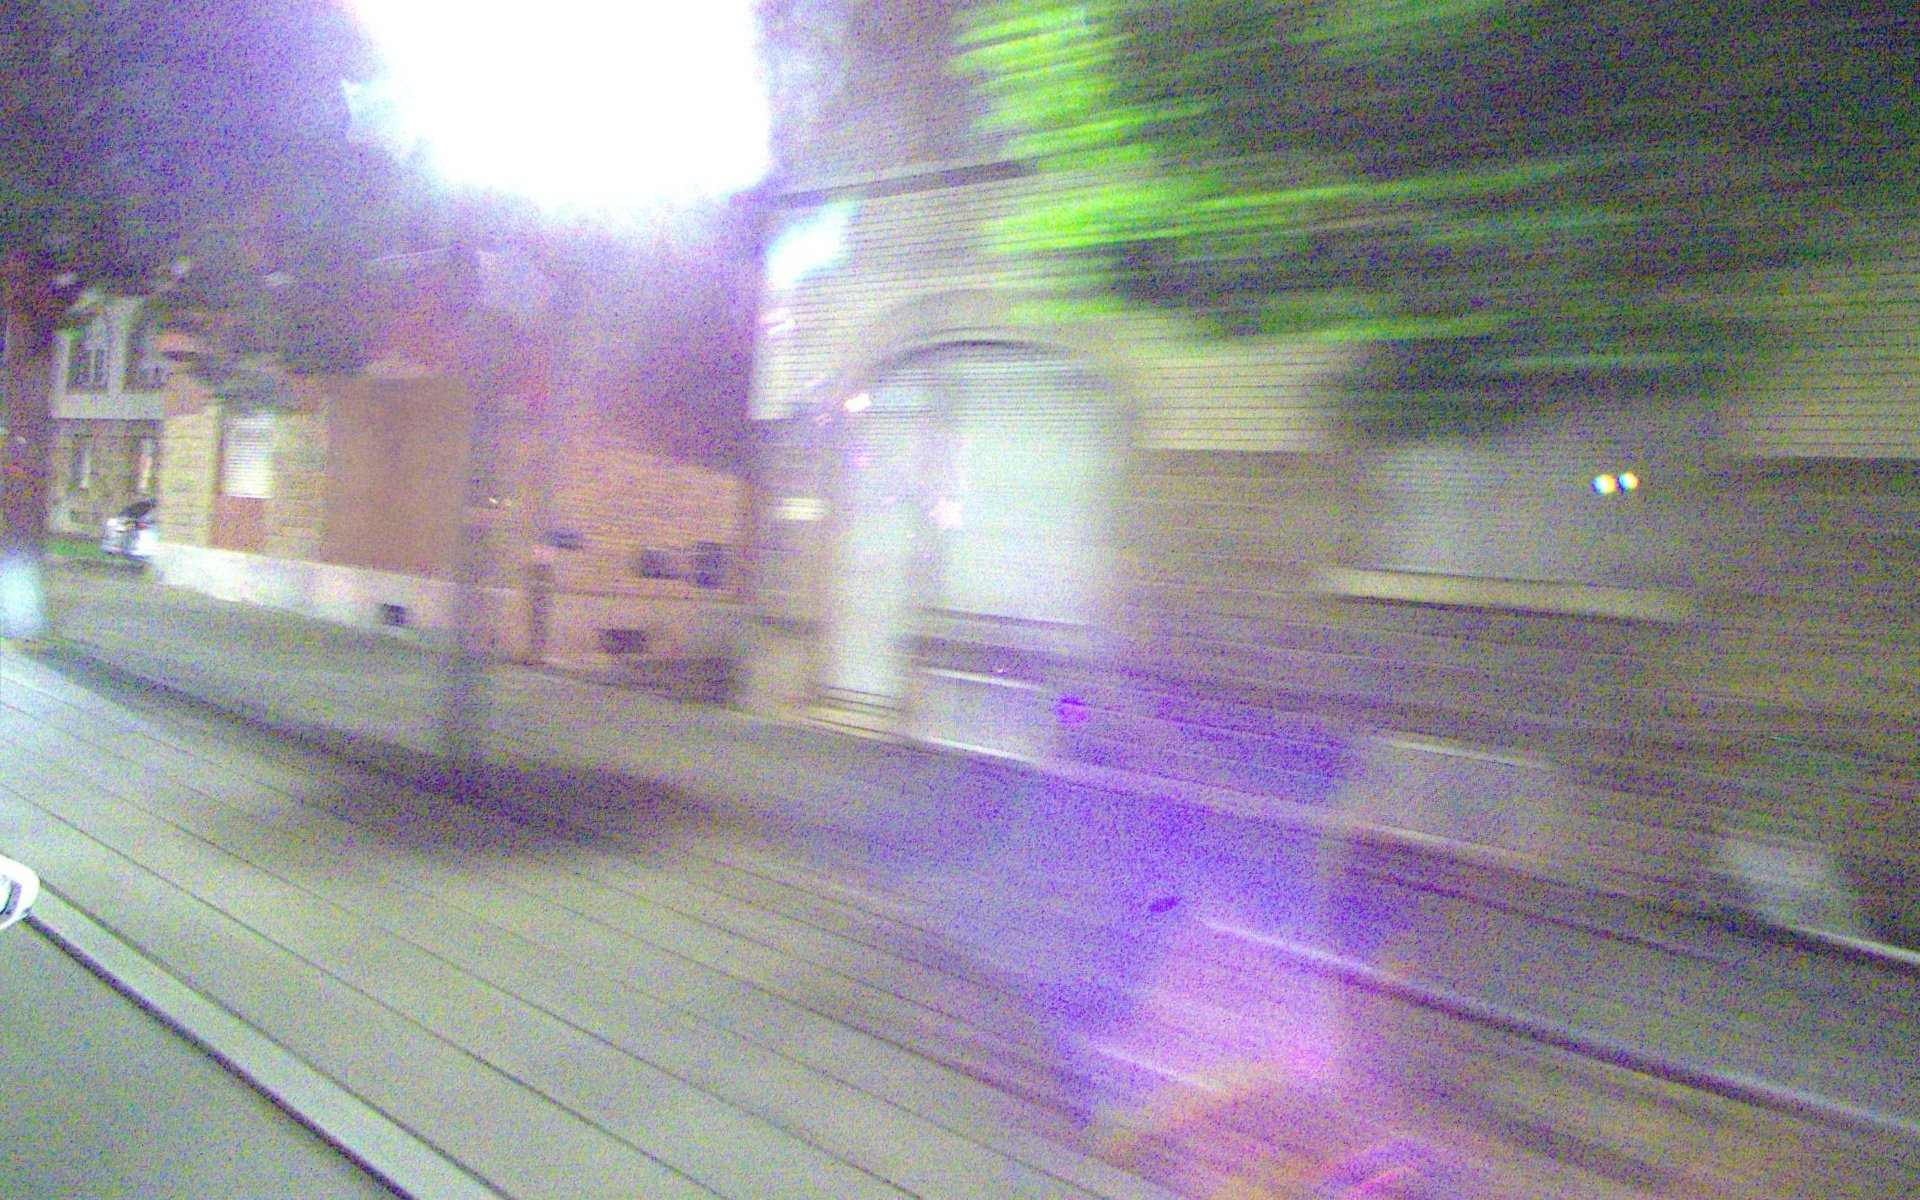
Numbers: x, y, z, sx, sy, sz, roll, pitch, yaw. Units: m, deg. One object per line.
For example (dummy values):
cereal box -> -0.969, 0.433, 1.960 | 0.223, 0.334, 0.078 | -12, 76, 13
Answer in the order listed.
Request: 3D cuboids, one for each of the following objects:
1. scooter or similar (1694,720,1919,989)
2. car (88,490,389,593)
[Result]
scooter or similar -> 4.731, 1.316, 5.128 | 1.471, 1.145, 0.421 | 7, 3, 39
car -> -13.998, -1.079, 19.767 | 1.761, 1.479, 4.423 | 8, 2, 36
